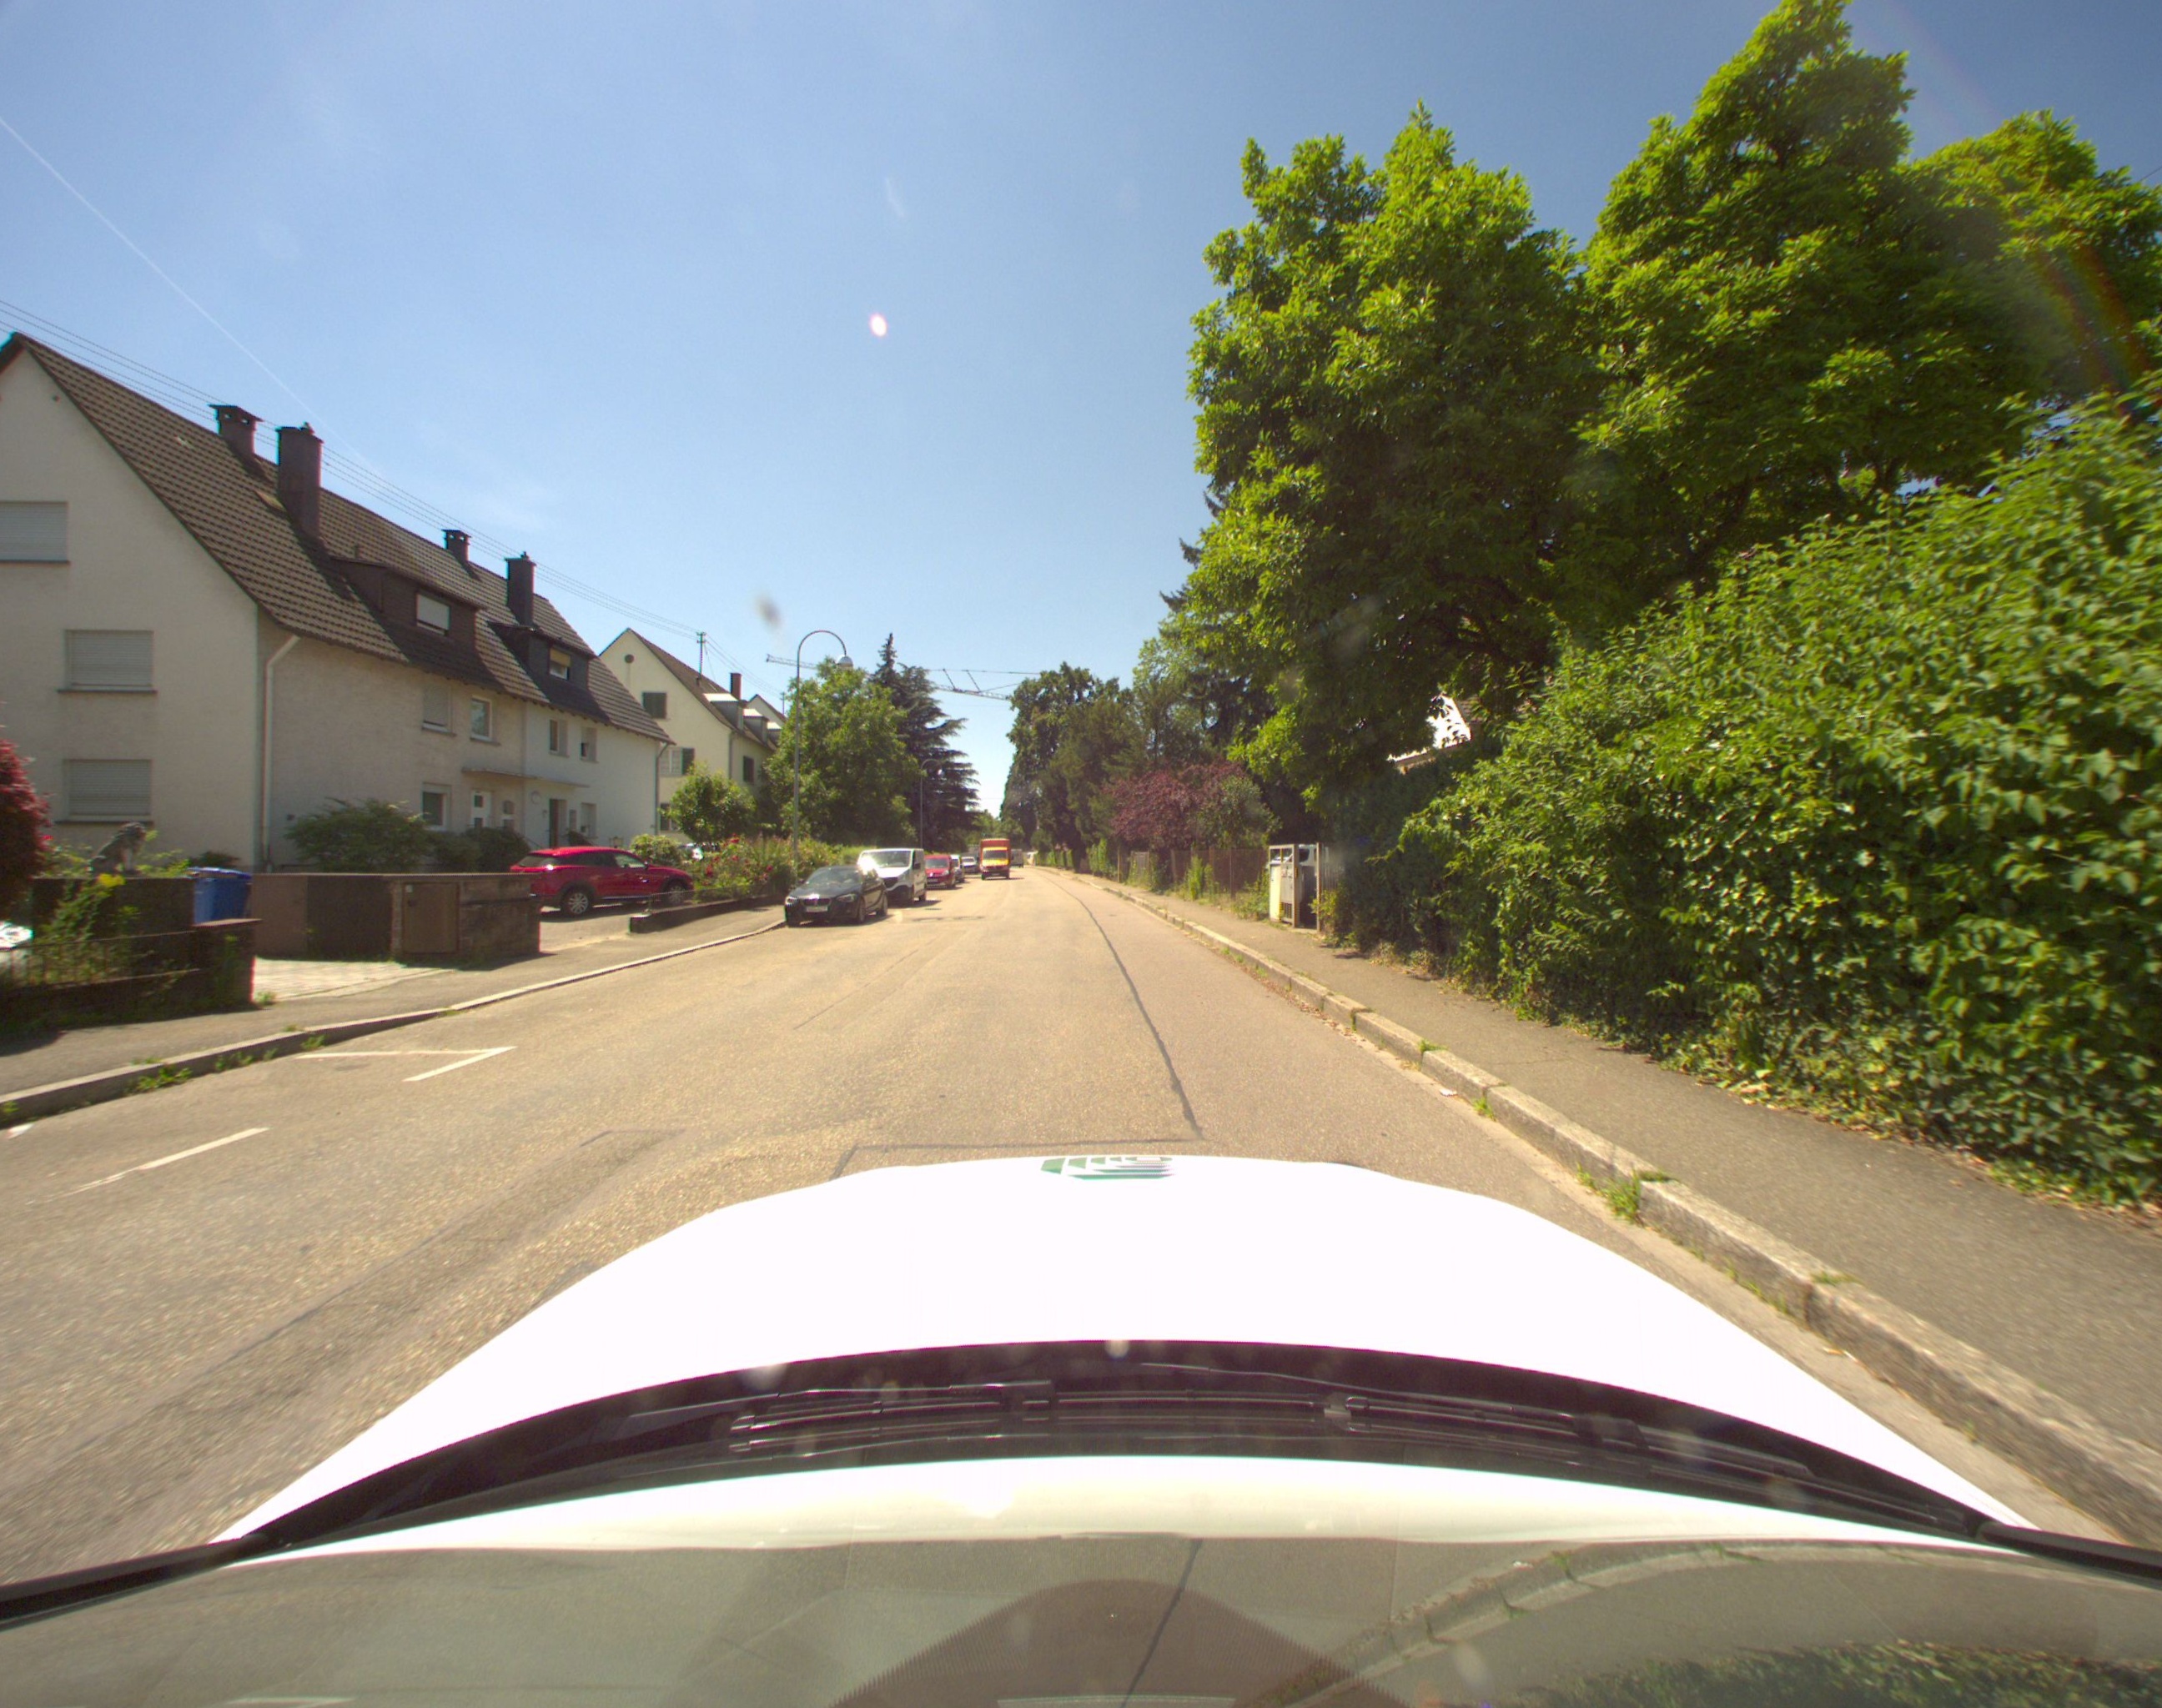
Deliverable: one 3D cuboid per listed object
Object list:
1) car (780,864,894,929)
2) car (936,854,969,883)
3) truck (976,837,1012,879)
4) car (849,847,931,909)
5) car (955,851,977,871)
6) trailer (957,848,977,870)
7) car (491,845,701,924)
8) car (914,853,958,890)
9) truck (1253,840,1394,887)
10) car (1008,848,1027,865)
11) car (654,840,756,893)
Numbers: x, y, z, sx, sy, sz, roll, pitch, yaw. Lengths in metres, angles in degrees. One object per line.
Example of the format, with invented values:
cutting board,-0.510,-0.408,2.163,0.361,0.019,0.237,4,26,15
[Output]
car,-6.030,0.994,20.661,1.694,1.384,4.232,-3,0,-2
car,-8.132,0.885,51.767,1.645,1.752,4.348,-2,0,-4
truck,-6.226,0.253,58.692,2.370,2.830,5.647,-1,0,-6
car,-6.439,0.775,27.974,1.882,1.881,4.974,-1,-1,-3
car,-10.640,0.648,75.648,1.849,1.671,4.700,-3,0,-7
trailer,-11.203,0.486,80.042,1.846,2.040,4.152,-3,0,-7
car,-11.444,0.632,19.556,1.628,1.511,4.136,3,3,24
car,-7.286,0.846,41.370,1.755,1.727,4.450,-2,0,-5
truck,12.276,0.458,41.312,6.605,2.167,1.974,1,1,-8
car,-9.128,0.349,116.507,2.144,2.315,4.834,-2,0,-11
car,-14.239,0.475,31.126,1.706,1.870,4.005,1,-1,5
